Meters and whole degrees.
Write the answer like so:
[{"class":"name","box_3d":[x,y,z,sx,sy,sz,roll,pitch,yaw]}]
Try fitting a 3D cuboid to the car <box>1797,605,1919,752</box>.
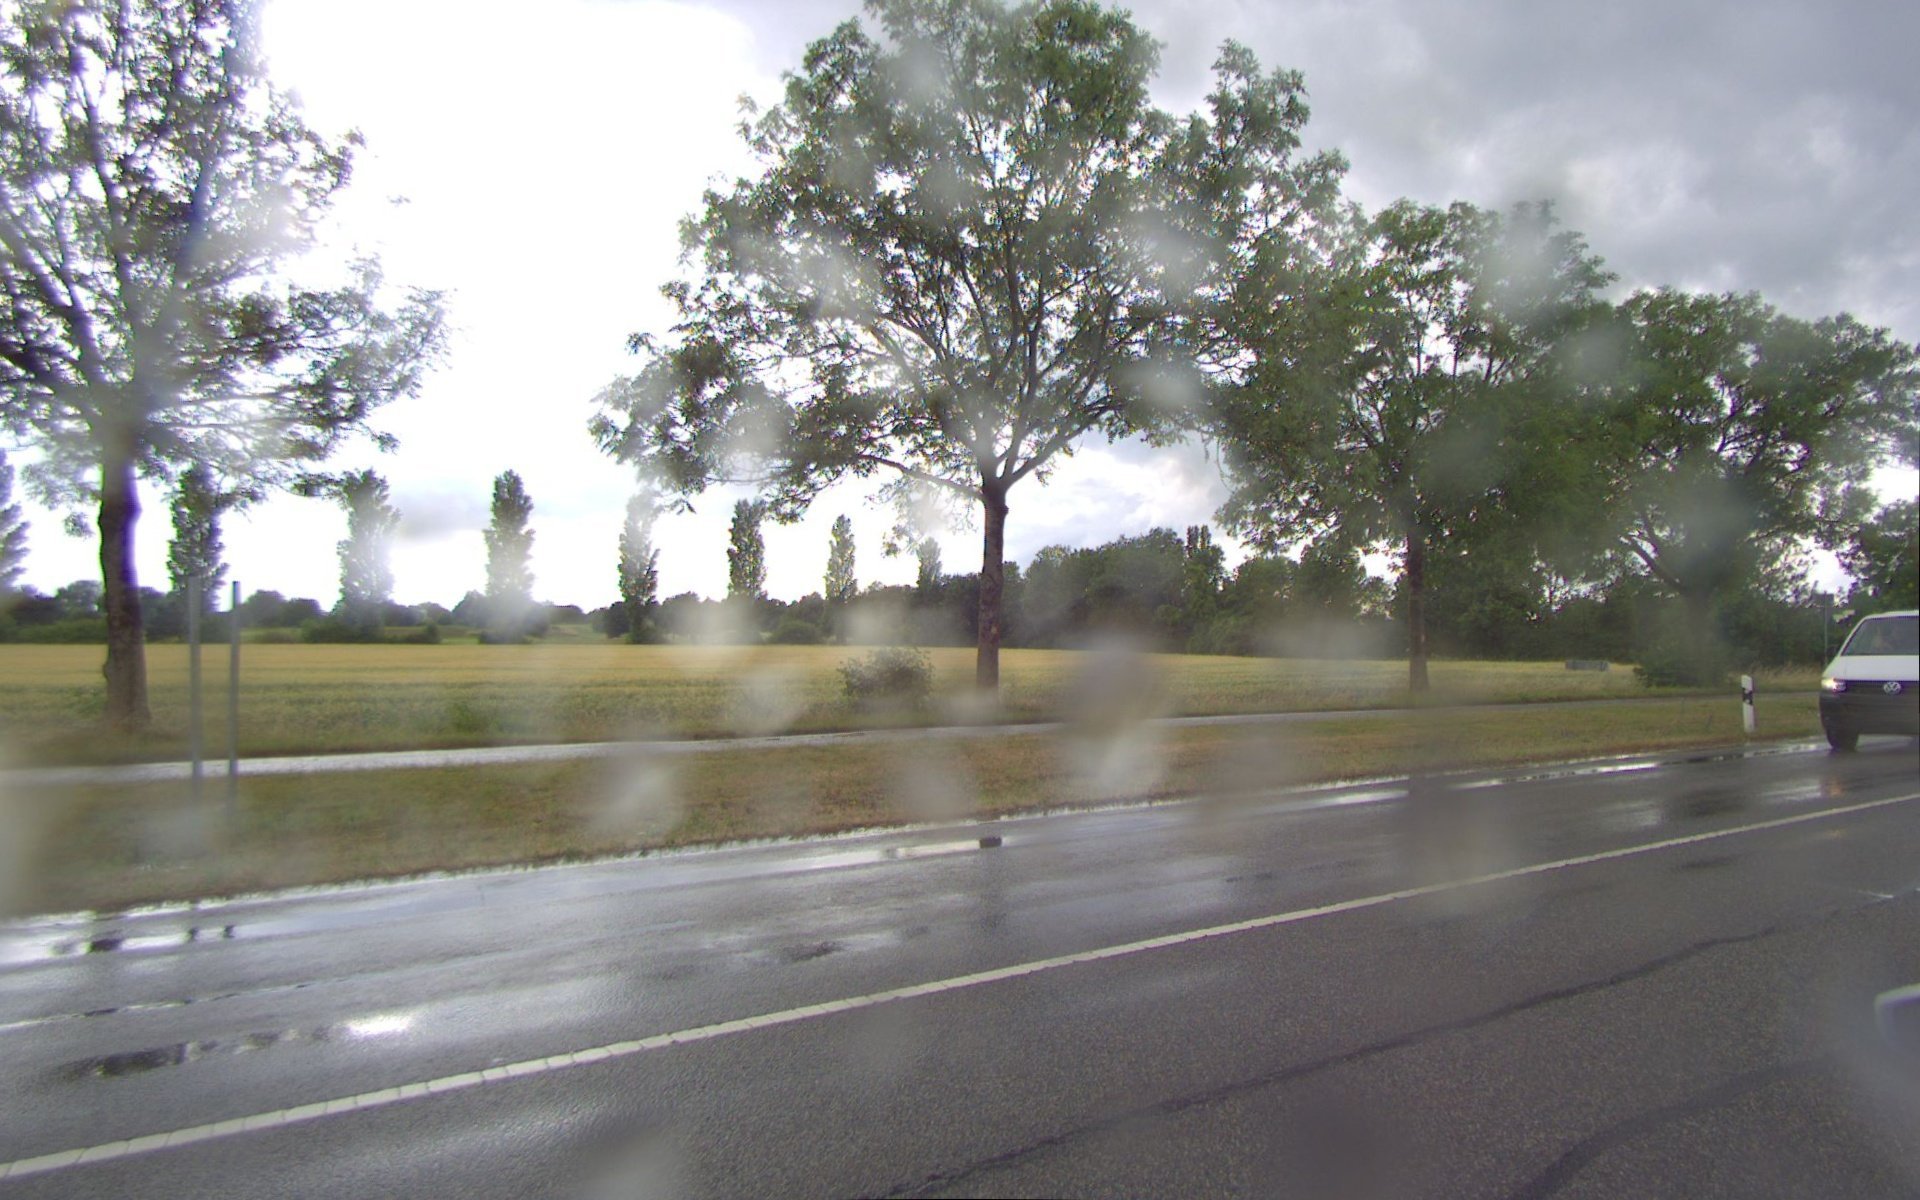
[{"class":"car","box_3d":[14.150,1.096,14.353,4.631,1.885,1.908,2,-4,-31]}]
